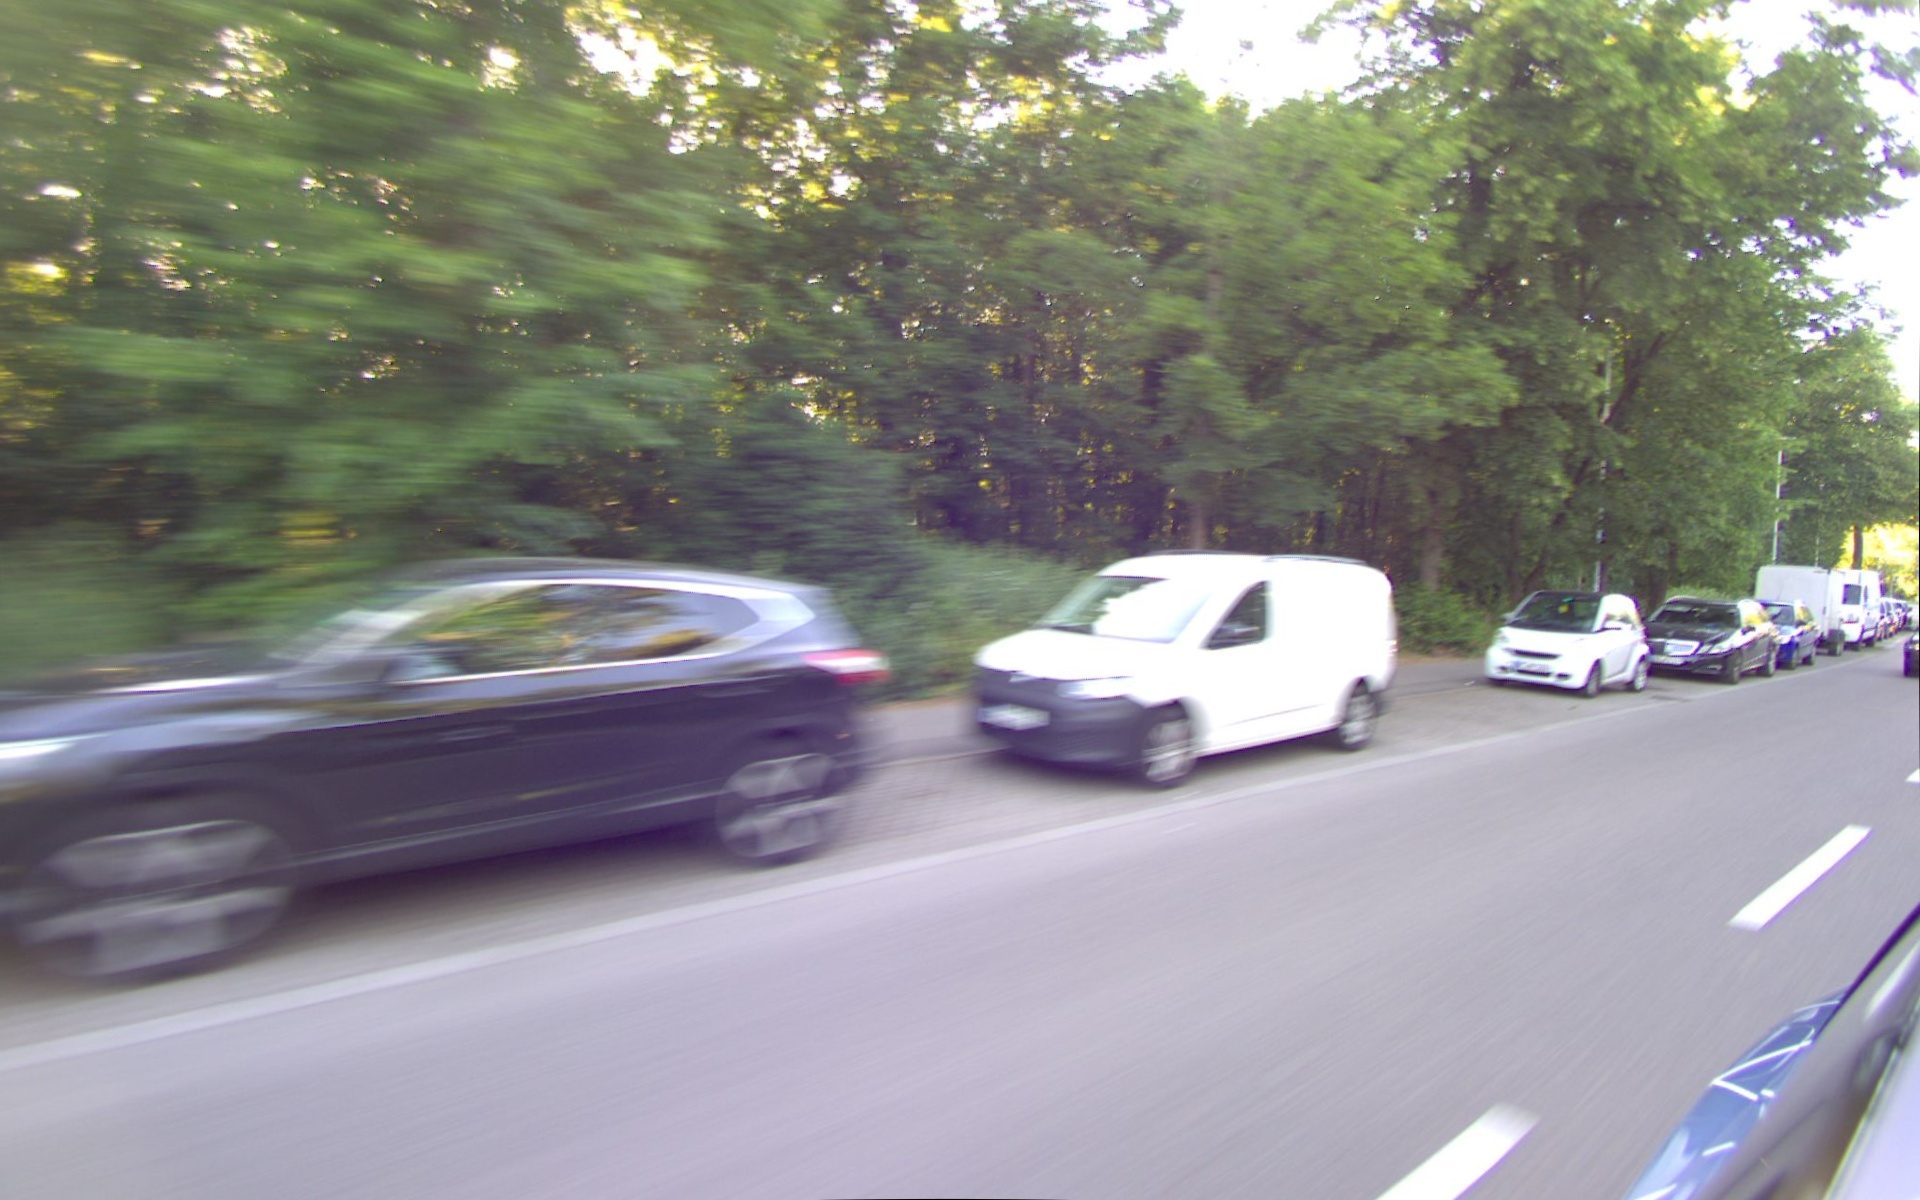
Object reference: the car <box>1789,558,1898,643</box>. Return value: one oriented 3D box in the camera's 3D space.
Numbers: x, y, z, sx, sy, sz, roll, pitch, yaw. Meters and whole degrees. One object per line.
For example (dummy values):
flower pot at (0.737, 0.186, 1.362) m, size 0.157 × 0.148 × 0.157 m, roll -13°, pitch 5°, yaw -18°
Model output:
car at (28.228, -0.054, 32.256) m, size 5.481 × 2.453 × 1.907 m, roll -1°, pitch 3°, yaw -42°

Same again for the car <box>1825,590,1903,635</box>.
car at (32.623, 0.410, 36.466) m, size 4.573 × 1.417 × 1.680 m, roll -1°, pitch 4°, yaw -43°

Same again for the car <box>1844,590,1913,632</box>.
car at (36.447, 0.409, 40.148) m, size 3.998 × 1.482 × 1.680 m, roll -1°, pitch 4°, yaw -43°

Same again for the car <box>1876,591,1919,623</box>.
car at (48.223, 0.334, 51.858) m, size 1.719 × 1.429 × 4.416 m, roll 4°, pitch 4°, yaw 44°

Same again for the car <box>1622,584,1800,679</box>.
car at (14.602, 0.505, 19.566) m, size 4.903 × 1.554 × 1.762 m, roll -1°, pitch 3°, yaw -42°

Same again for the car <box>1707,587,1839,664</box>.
car at (18.941, 0.513, 23.512) m, size 4.278 × 1.554 × 1.681 m, roll -1°, pitch 3°, yaw -42°

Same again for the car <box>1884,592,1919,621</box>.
car at (51.891, 0.314, 55.531) m, size 1.718 × 1.429 × 4.418 m, roll 4°, pitch 4°, yaw 43°

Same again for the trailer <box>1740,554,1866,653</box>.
trailer at (23.238, 0.022, 27.834) m, size 5.039 × 2.453 × 1.907 m, roll -1°, pitch 3°, yaw -42°

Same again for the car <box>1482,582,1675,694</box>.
car at (9.729, 0.510, 15.872) m, size 3.123 × 1.513 × 1.590 m, roll 0°, pitch 3°, yaw -39°

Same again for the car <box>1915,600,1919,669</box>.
car at (21.116, 0.695, 20.905) m, size 3.926 × 1.376 × 1.677 m, roll -1°, pitch 2°, yaw -42°

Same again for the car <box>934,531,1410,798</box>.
car at (2.121, 0.378, 9.163) m, size 4.656 × 1.826 × 1.762 m, roll -1°, pitch 3°, yaw -42°

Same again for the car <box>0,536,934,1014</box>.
car at (-2.390, 0.525, 5.134) m, size 4.350 × 1.566 × 1.763 m, roll -1°, pitch 3°, yaw -40°

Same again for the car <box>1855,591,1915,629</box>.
car at (40.605, 0.398, 44.390) m, size 3.628 × 1.482 × 1.679 m, roll -1°, pitch 4°, yaw -44°
